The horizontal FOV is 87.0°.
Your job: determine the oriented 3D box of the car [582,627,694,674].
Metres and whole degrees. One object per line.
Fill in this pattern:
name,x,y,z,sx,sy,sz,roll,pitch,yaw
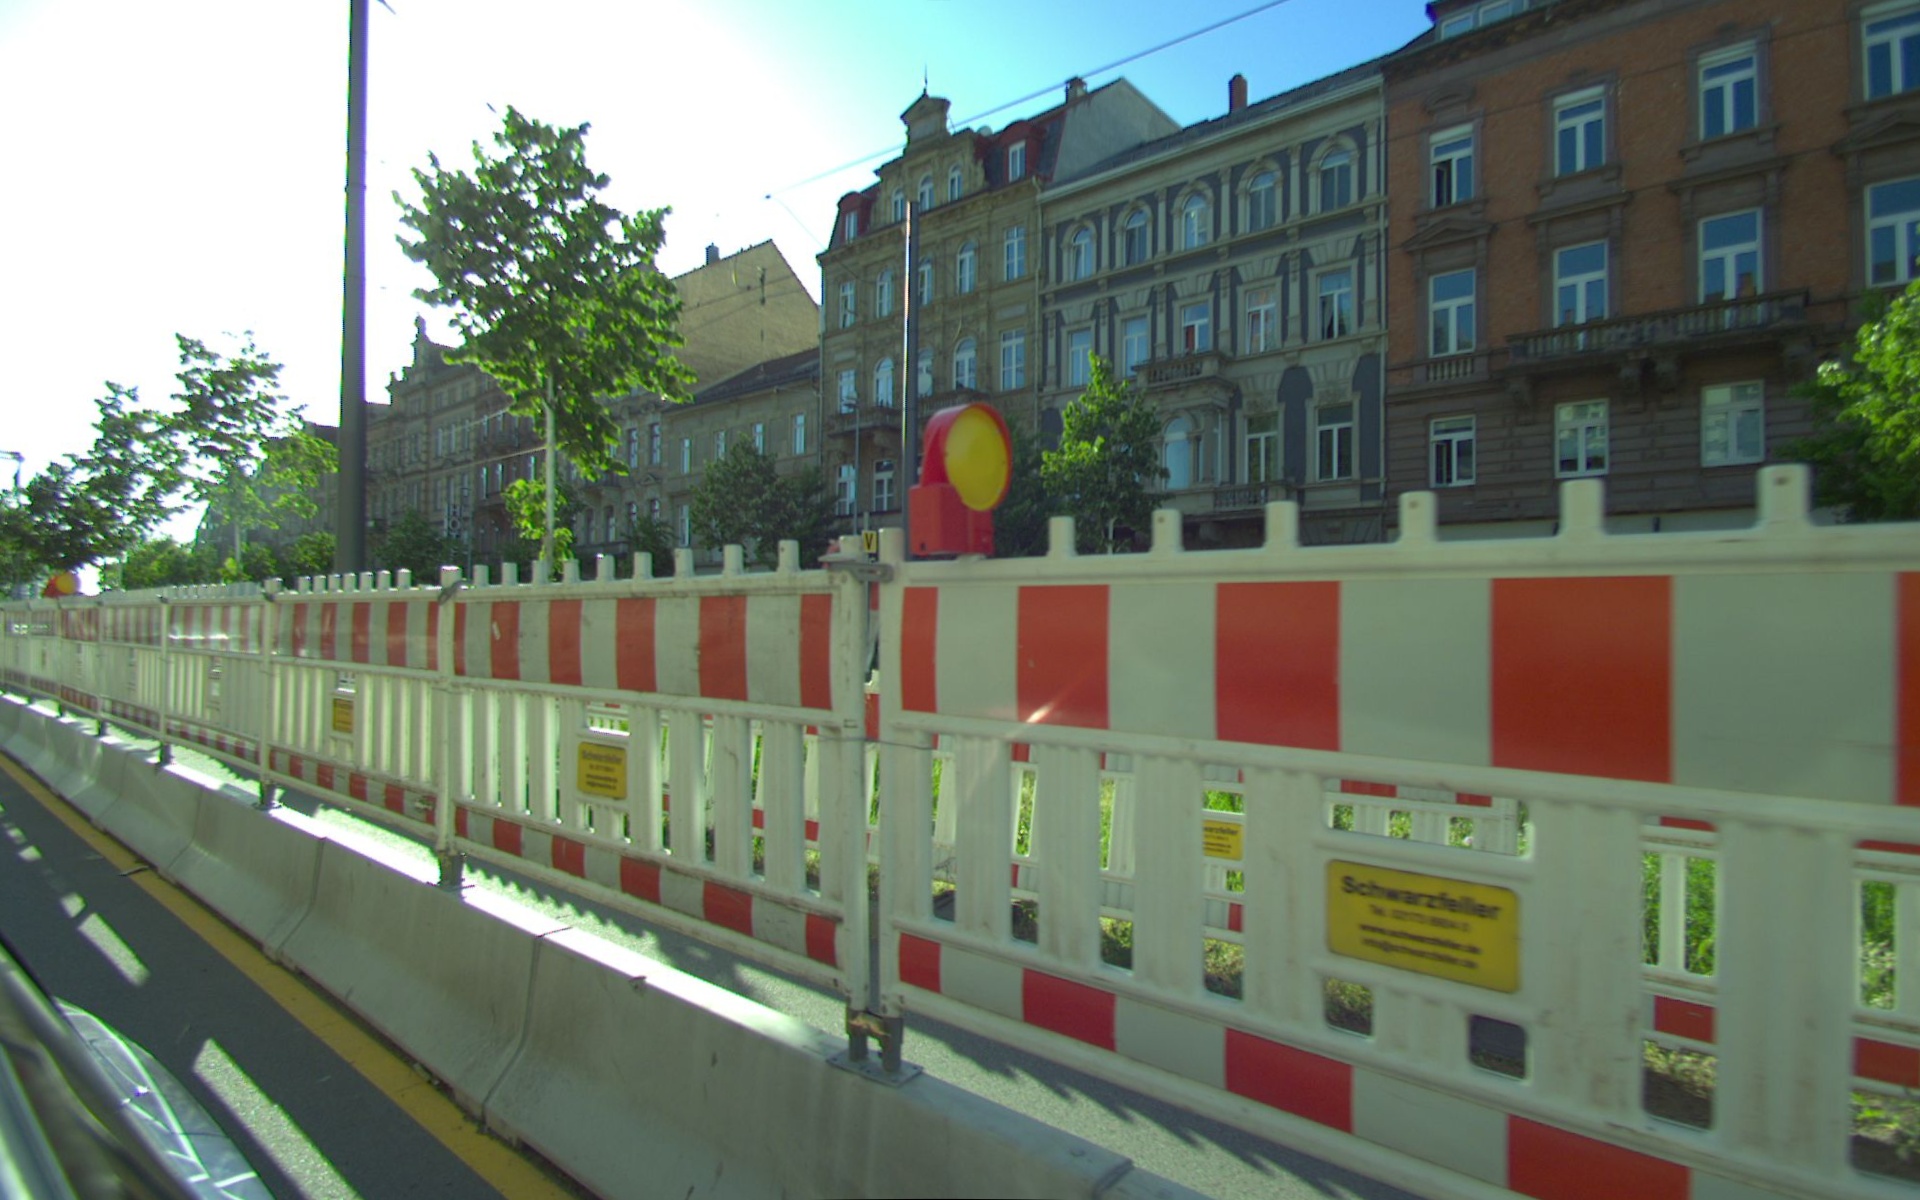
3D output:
car,-12.826,1.956,40.207,4.885,1.710,1.973,-1,0,41

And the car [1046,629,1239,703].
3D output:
car,4.596,1.612,25.922,4.545,1.671,1.917,-1,0,43

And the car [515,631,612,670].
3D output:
car,-17.456,2.169,44.437,4.983,1.549,1.972,-1,0,42

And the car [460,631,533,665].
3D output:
car,-22.421,2.273,48.911,4.026,1.490,1.730,-1,0,42

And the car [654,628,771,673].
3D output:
car,-8.913,1.759,36.277,4.306,1.449,1.973,-1,0,41
